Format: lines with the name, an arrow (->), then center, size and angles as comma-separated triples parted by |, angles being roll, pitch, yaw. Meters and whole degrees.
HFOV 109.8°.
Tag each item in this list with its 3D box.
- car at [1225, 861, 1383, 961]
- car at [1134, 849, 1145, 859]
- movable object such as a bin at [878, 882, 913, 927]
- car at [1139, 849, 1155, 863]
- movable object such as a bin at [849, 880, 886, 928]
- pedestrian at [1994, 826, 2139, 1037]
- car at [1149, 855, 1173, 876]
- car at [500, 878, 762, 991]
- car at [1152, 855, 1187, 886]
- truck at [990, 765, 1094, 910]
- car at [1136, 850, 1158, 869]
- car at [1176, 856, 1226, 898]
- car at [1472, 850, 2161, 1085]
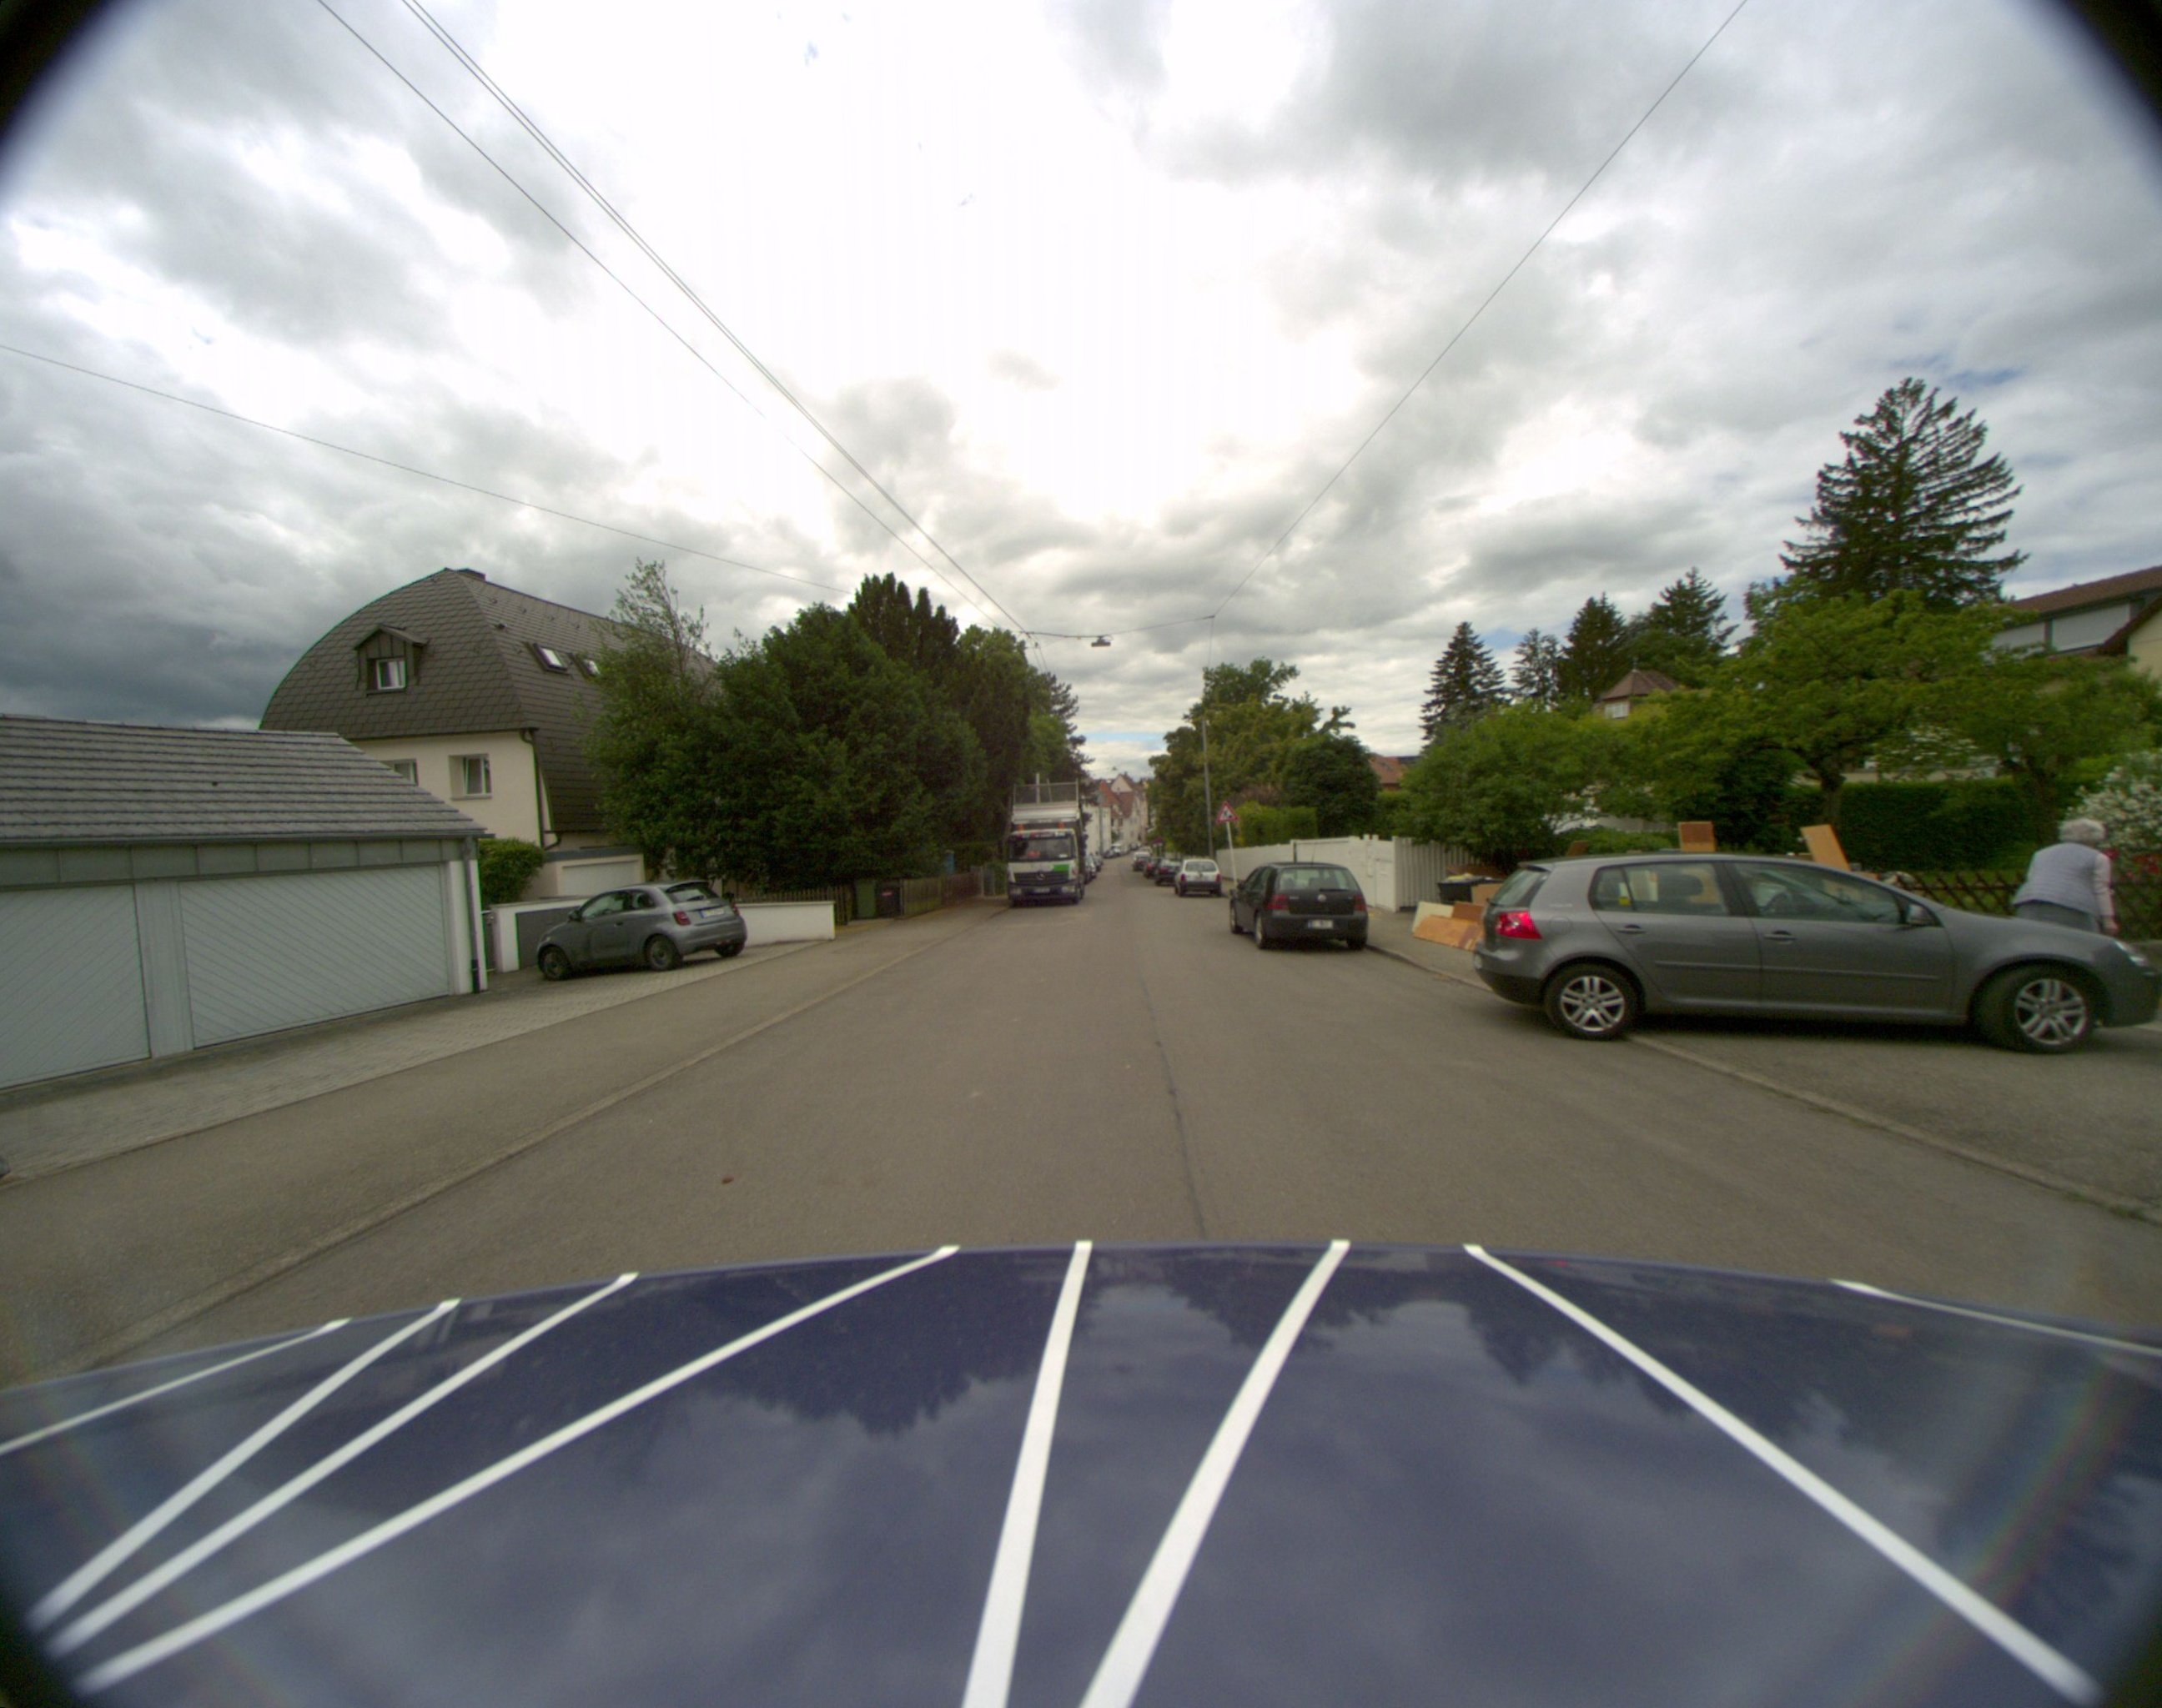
car -> 3.714, 0.879, 13.336 | 1.758, 1.435, 3.802 | 0, 0, 2
car -> 7.924, 0.016, 102.270 | 1.423, 1.277, 3.313 | 0, 1, 3
movable object such as a bin -> -4.904, 1.318, 20.095 | 0.599, 1.098, 0.952 | -5, -2, 1
car -> 7.128, 0.155, 82.358 | 1.620, 1.460, 3.313 | 0, 1, 3
movable object such as a bin -> -5.613, 1.300, 20.049 | 0.599, 1.200, 0.952 | -5, -2, 1
pedestrian -> 8.972, 0.668, 6.930 | 0.614, 1.794, 0.645 | -3, 1, -21
car -> 5.600, 0.811, 53.645 | 1.538, 1.460, 3.314 | 0, -1, 3
car -> -7.918, 1.411, 13.438 | 3.852, 1.488, 1.694 | -7, 0, 17
car -> 4.616, 0.822, 39.816 | 1.620, 1.460, 3.313 | 0, 1, 3
truck -> -1.182, -0.540, 28.172 | 3.152, 4.525, 7.952 | -2, 1, 1
car -> 6.592, 0.526, 76.034 | 1.887, 1.746, 3.703 | -3, 1, 1
car -> 4.594, 0.862, 29.444 | 1.620, 1.460, 3.313 | 0, 1, 3
car -> 5.562, 0.799, 6.228 | 3.991, 1.454, 1.740 | -3, 0, 21
